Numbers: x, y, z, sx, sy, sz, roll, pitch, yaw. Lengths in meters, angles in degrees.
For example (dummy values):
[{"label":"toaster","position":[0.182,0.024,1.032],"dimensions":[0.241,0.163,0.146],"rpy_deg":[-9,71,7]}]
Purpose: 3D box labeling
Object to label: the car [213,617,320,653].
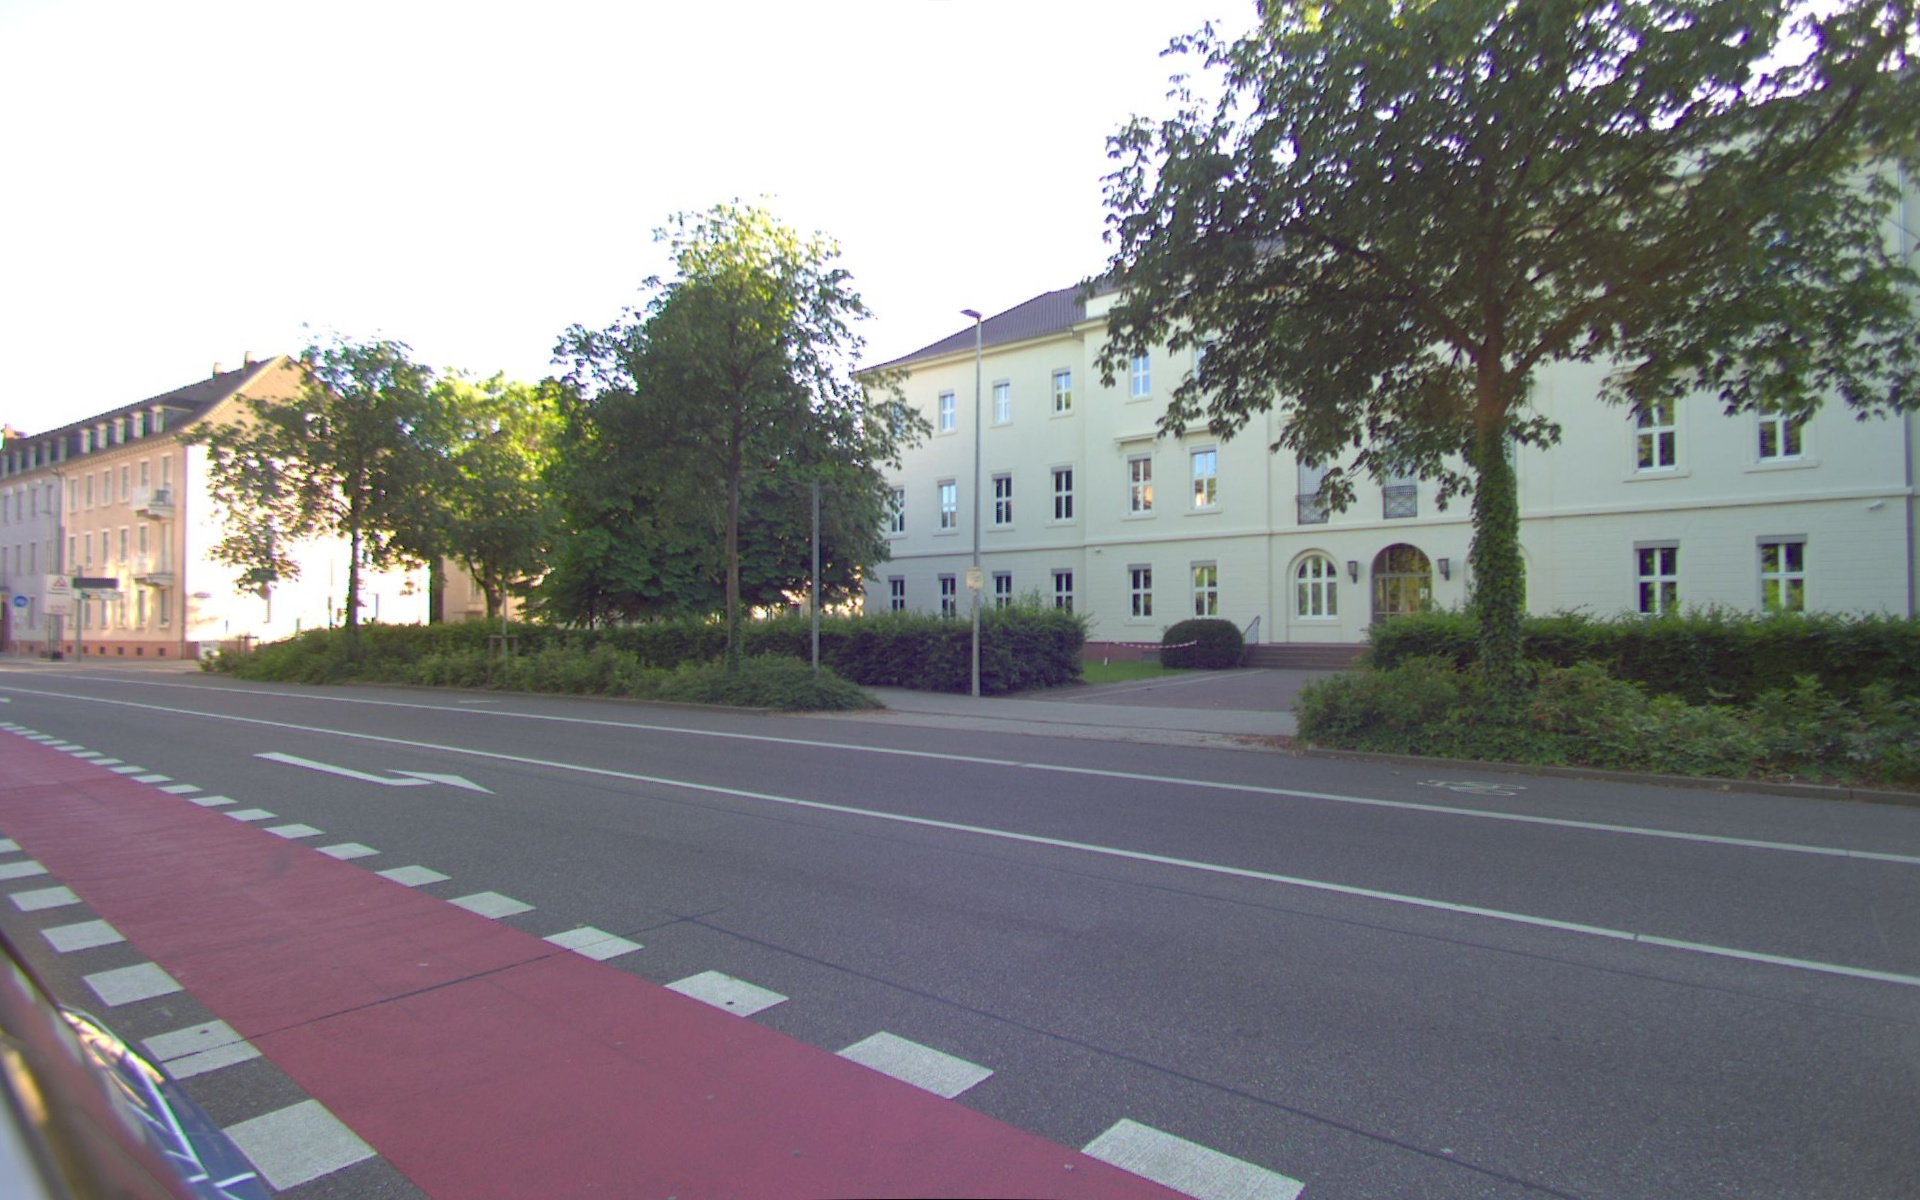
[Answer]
[{"label":"car","position":[-34.680,1.730,50.700],"dimensions":[1.993,1.674,3.958],"rpy_deg":[-1,-1,31]}]
